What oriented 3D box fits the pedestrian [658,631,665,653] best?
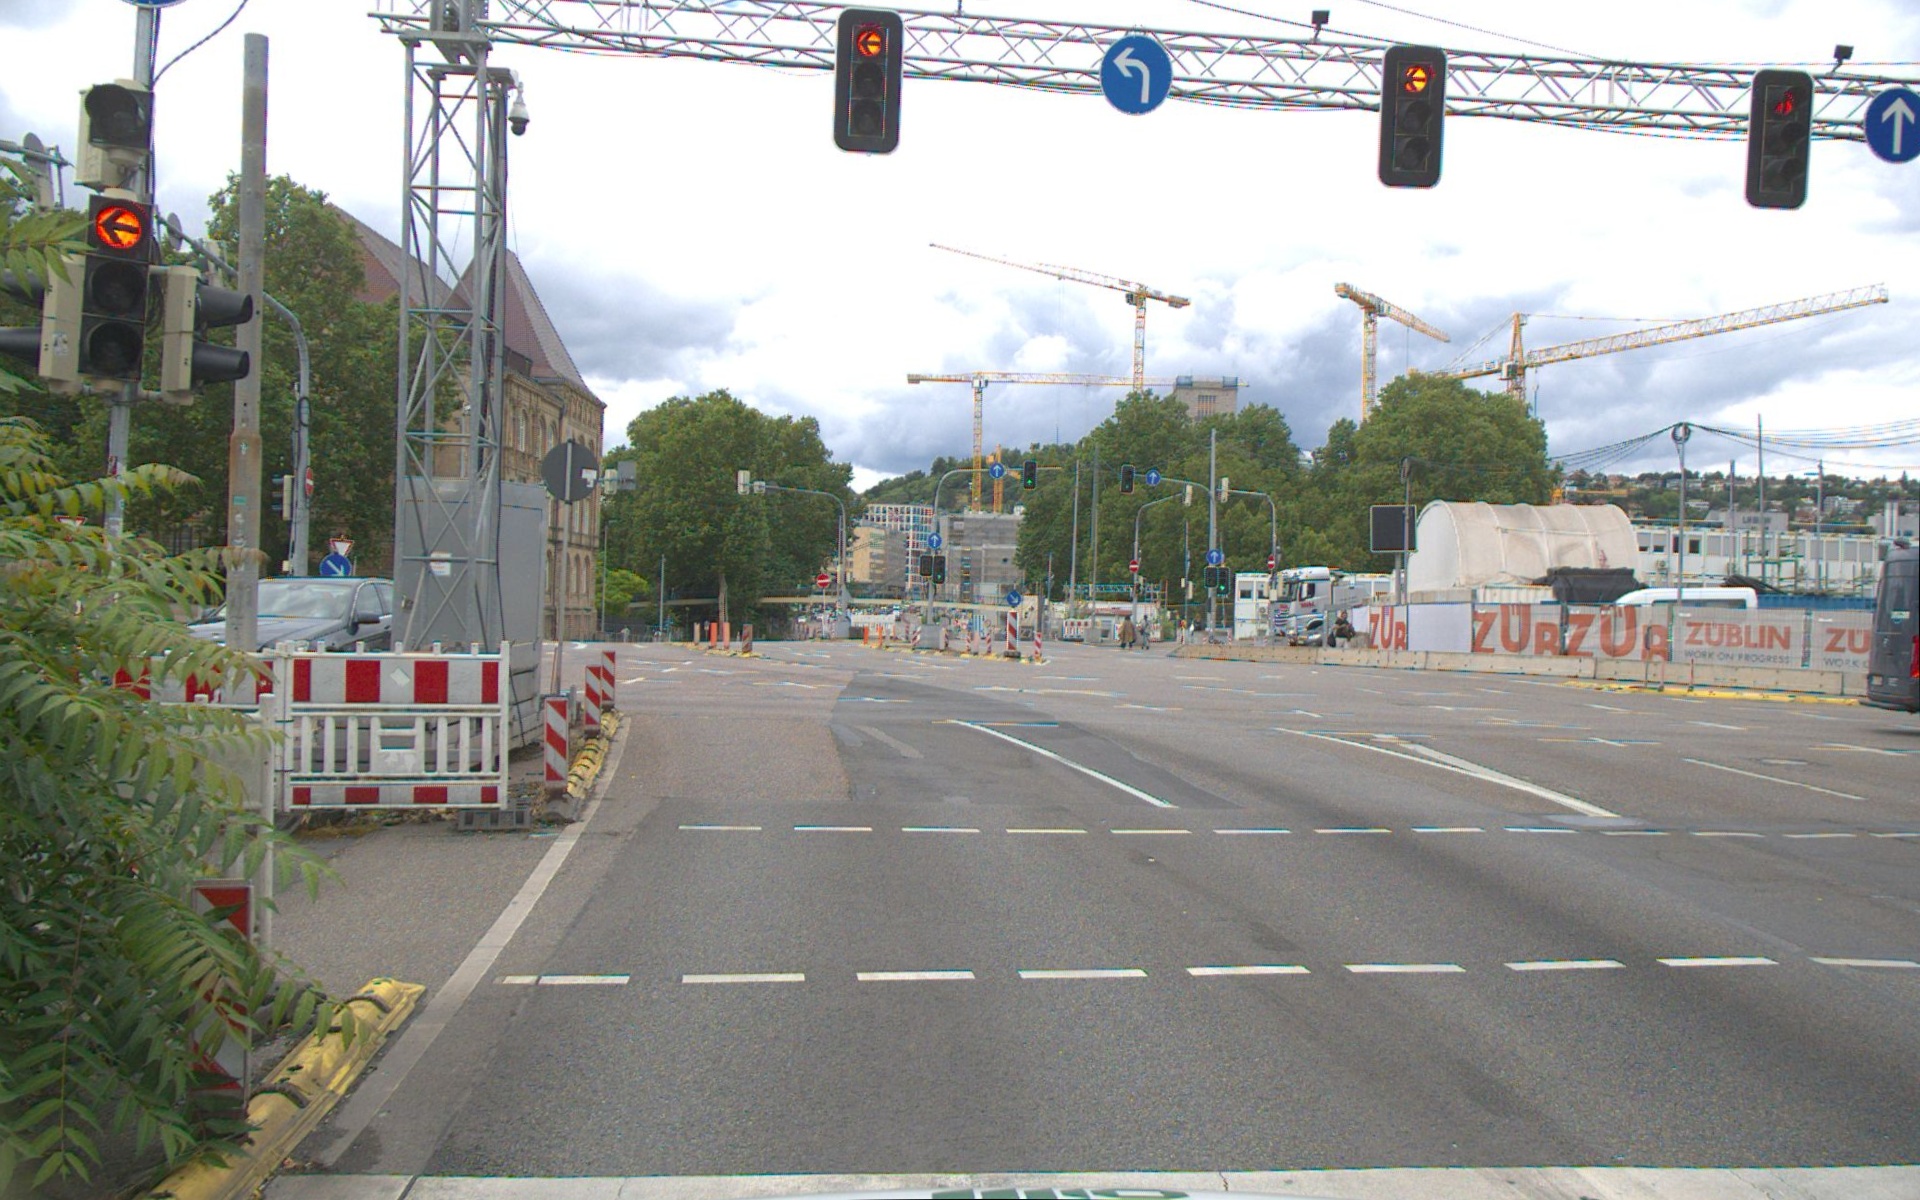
[{"bbox_3d":[-28.460,3.976,157.875,0.513,2.049,0.566,1,0,-1],"label":"pedestrian"}]

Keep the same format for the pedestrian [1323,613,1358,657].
[{"bbox_3d":[12.537,1.158,54.517,0.783,1.402,0.901,2,0,-15],"label":"pedestrian"}]

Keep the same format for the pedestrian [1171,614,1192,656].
[{"bbox_3d":[9.069,1.427,67.660,0.714,1.718,0.677,2,0,-1],"label":"pedestrian"}]

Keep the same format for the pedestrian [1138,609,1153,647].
[{"bbox_3d":[8.522,1.286,76.005,0.555,1.718,0.471,2,0,-1],"label":"pedestrian"}]

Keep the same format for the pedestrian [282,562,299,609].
[{"bbox_3d":[-29.496,-0.624,72.850,0.523,2.049,0.421,2,0,-44],"label":"pedestrian"}]

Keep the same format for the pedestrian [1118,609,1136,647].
[{"bbox_3d":[7.677,1.287,75.969,0.714,1.718,0.677,2,0,-1],"label":"pedestrian"}]

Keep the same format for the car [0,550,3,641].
[{"bbox_3d":[-19.704,-0.132,29.353,4.239,1.705,1.993,2,0,-14],"label":"car"}]

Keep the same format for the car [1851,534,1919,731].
[{"bbox_3d":[15.777,0.515,22.673,5.866,2.639,2.065,2,0,12],"label":"car"}]

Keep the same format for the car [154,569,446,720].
[{"bbox_3d":[-7.439,0.449,19.156,1.666,1.497,4.628,1,0,-3],"label":"car"}]

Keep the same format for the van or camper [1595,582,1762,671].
[{"bbox_3d":[20.733,0.739,47.912,4.123,2.398,2.002,1,0,14],"label":"van or camper"}]

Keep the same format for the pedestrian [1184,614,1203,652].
[{"bbox_3d":[10.896,1.535,77.095,0.609,1.718,0.710,2,0,28],"label":"pedestrian"}]

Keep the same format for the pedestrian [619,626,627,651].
[{"bbox_3d":[-27.351,3.112,134.286,0.513,2.049,0.566,1,0,-1],"label":"pedestrian"}]

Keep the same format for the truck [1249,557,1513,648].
[{"bbox_3d":[21.003,0.160,82.321,12.837,4.111,3.927,1,0,-21],"label":"truck"}]
